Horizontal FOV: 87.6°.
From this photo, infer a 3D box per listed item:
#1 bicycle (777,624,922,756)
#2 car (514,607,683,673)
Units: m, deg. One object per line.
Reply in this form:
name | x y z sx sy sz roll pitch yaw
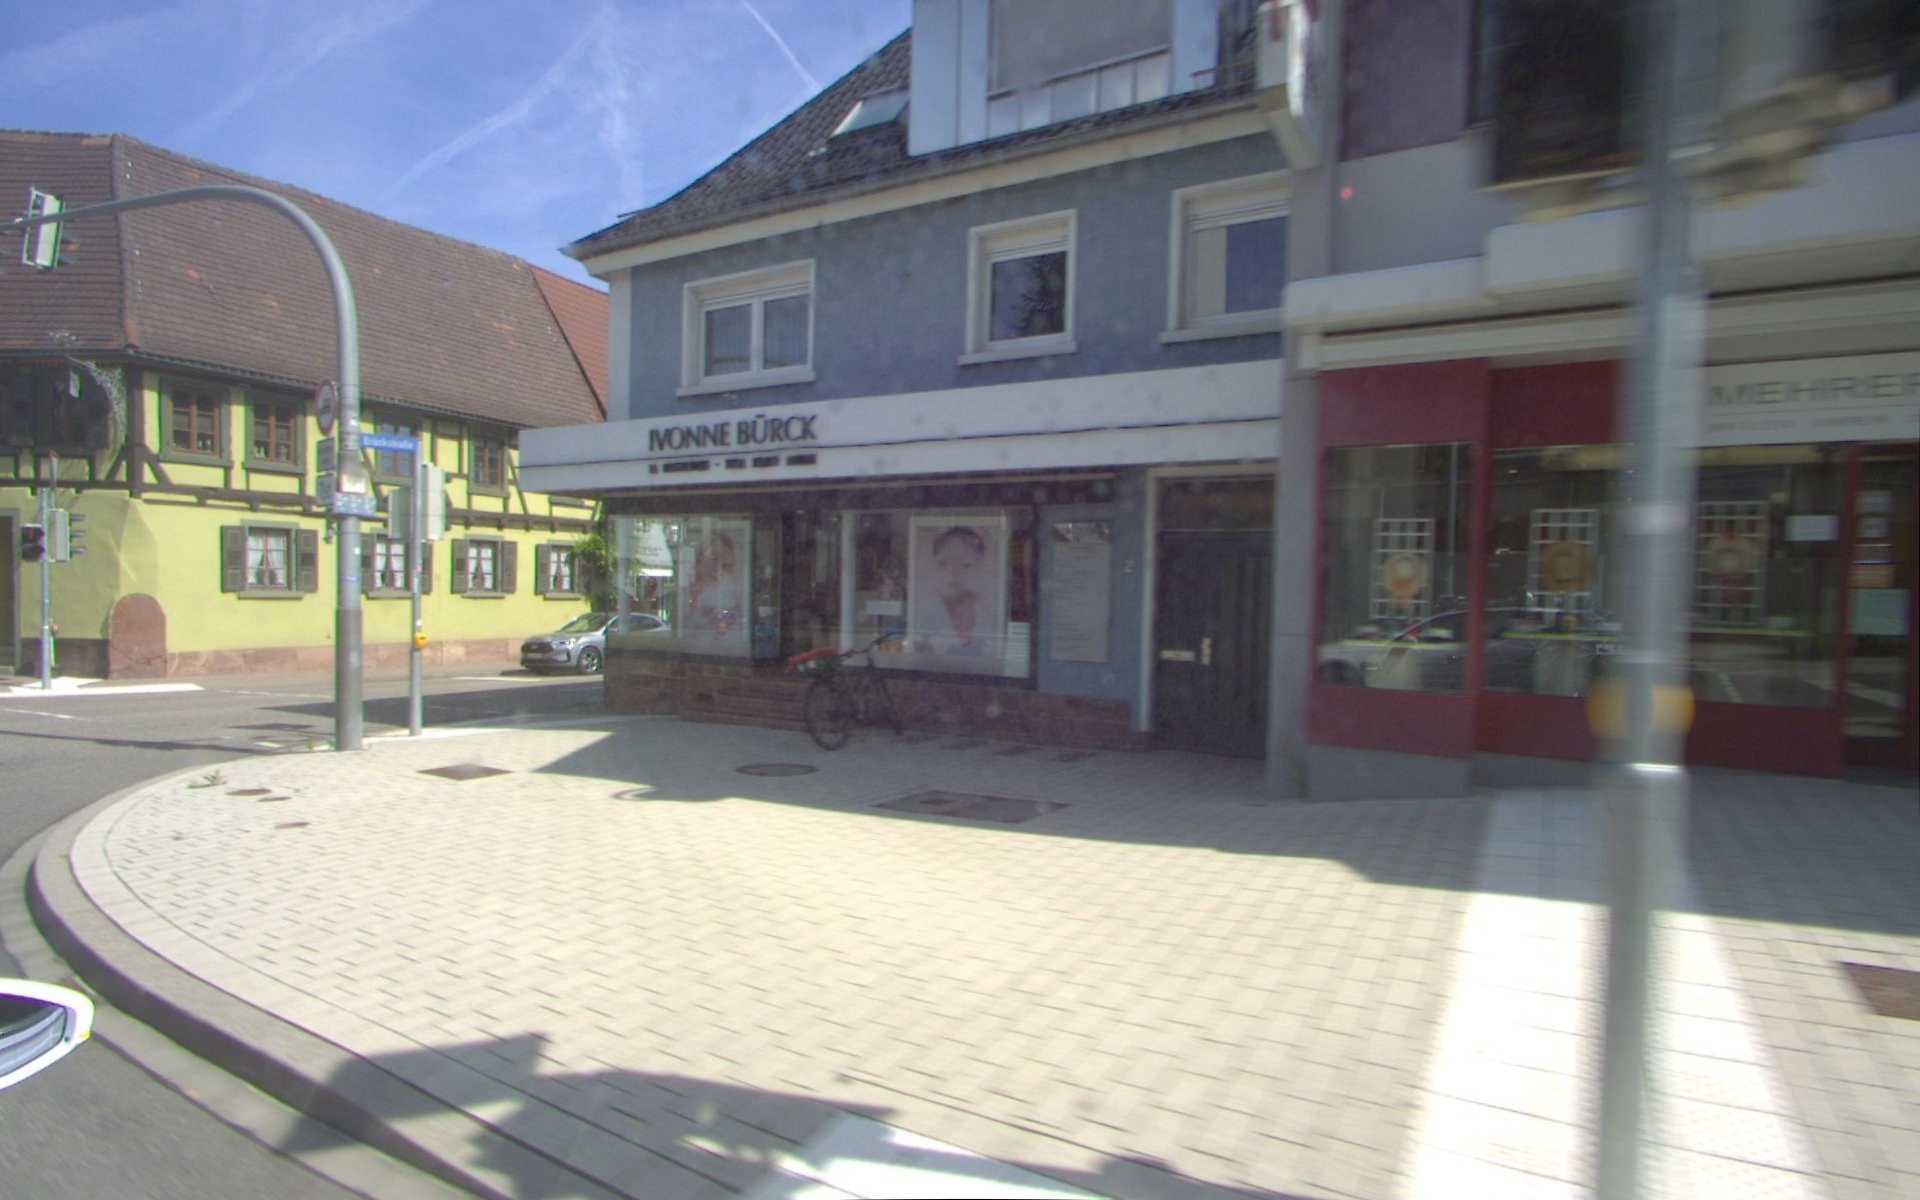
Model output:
bicycle | -1.143 0.906 10.744 0.542 1.251 1.799 1 1 33
car | -9.560 1.041 26.859 1.732 1.630 4.416 -1 -1 24
